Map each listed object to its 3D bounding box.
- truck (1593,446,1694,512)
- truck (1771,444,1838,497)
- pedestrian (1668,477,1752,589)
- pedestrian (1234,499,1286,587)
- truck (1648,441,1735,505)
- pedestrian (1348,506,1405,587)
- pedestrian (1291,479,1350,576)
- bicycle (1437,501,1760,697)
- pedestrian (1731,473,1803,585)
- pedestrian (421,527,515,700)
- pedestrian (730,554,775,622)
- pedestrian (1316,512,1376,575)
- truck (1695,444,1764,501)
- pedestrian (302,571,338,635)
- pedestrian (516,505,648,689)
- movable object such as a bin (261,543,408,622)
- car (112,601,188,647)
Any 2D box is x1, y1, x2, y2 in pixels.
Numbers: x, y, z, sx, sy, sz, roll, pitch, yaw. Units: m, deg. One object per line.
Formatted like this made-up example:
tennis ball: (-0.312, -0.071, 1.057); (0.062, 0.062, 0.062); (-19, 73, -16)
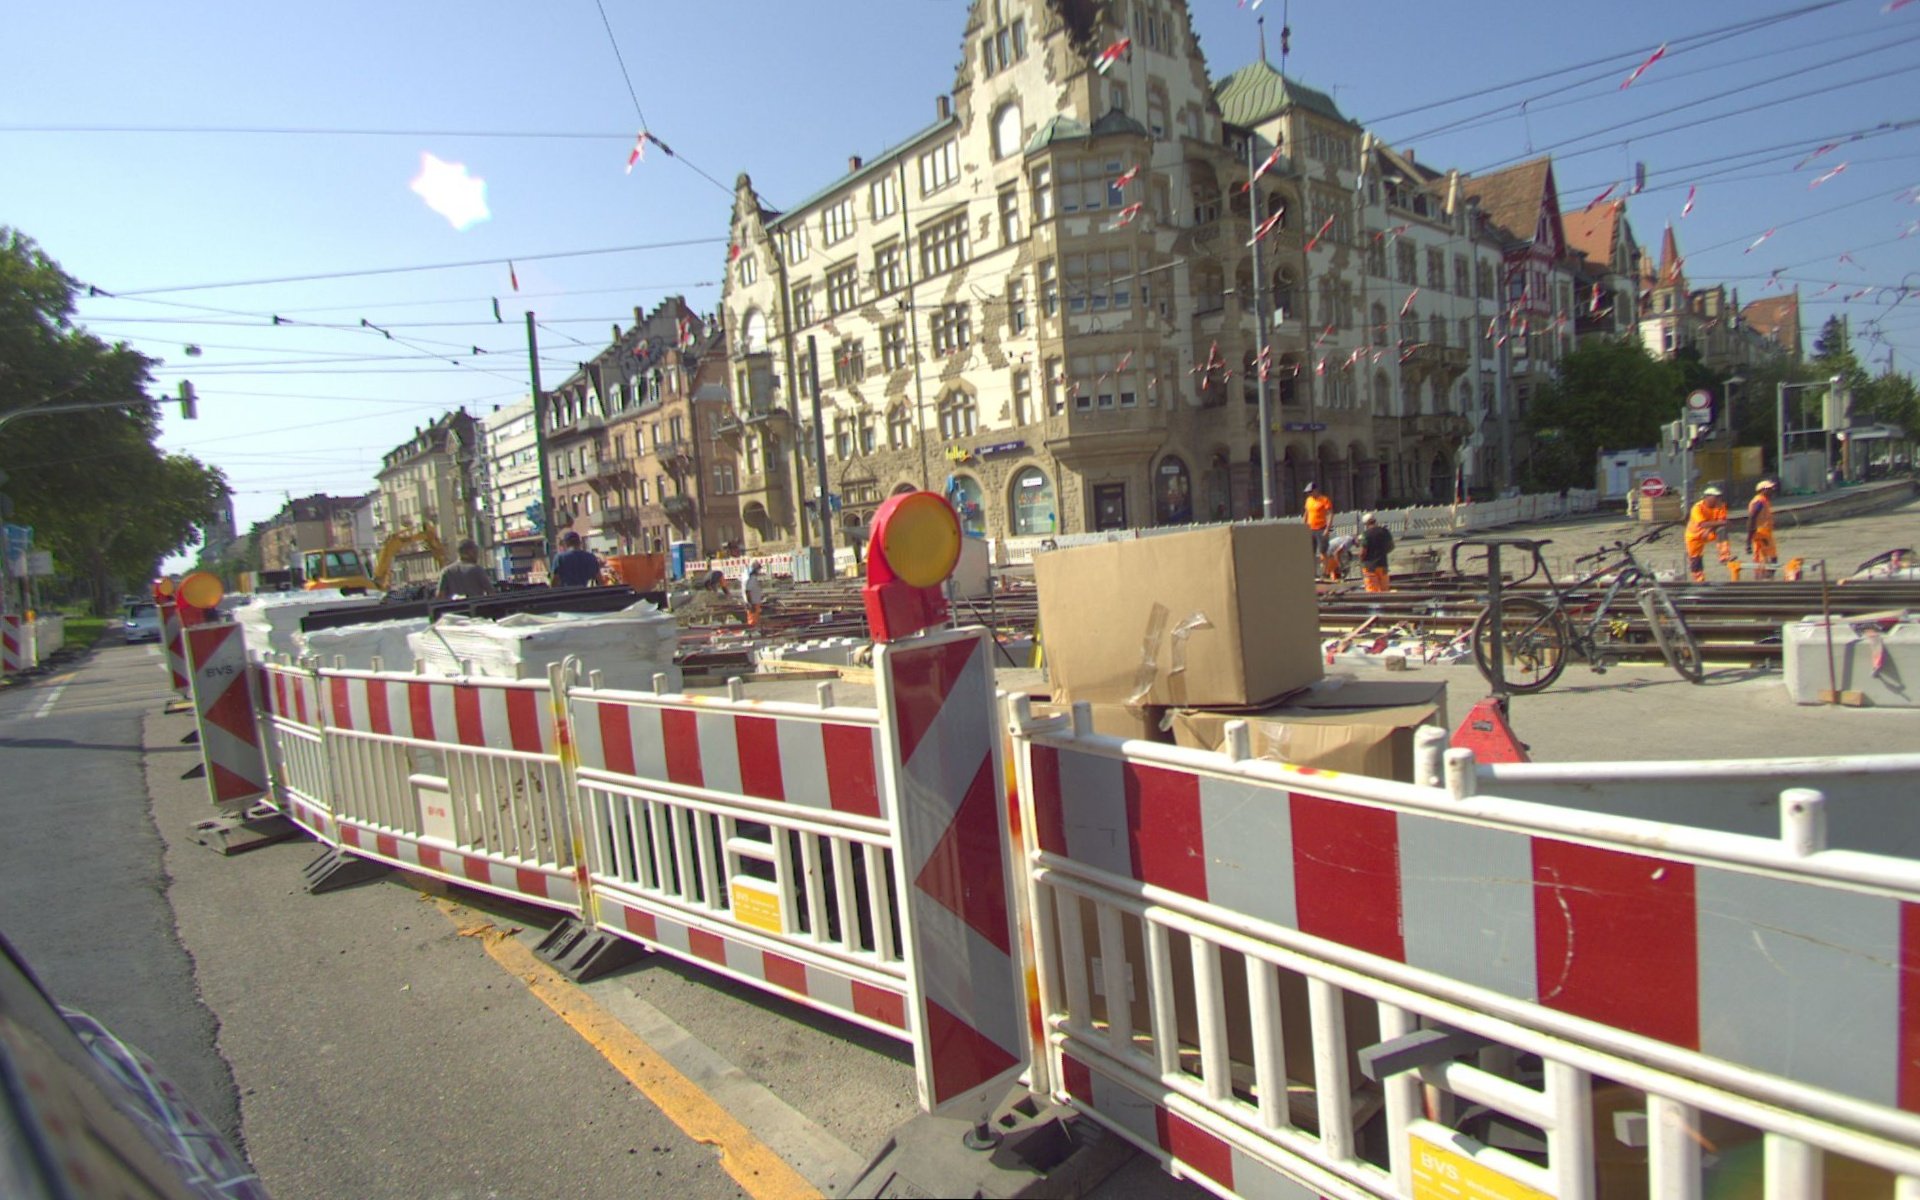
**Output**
truck: (33.418, -5.908, 49.406); (5.951, 2.835, 2.695); (-7, 4, -42)
truck: (50.288, -7.704, 60.212); (6.263, 2.810, 2.241); (-7, 4, -43)
pedestrian: (12.054, -1.069, 16.265); (0.729, 1.714, 0.761); (-5, 3, -21)
pedestrian: (5.629, -1.064, 19.007); (0.729, 1.568, 0.752); (-4, 3, 8)
truck: (40.083, -6.959, 55.379); (6.263, 3.065, 2.634); (-7, 4, -43)
pedestrian: (6.723, -0.863, 16.333); (0.668, 1.256, 0.548); (-6, 4, -41)
pedestrian: (6.689, -1.341, 18.772); (0.742, 1.714, 0.679); (-6, 3, -41)
bicycle: (4.392, -0.031, 7.033); (1.774, 1.157, 0.676); (-5, 4, -1)
pedestrian: (12.990, -1.135, 16.288); (0.730, 1.714, 0.760); (-6, 4, -41)
pedestrian: (-5.339, 0.132, 11.019); (0.708, 1.787, 0.467); (-5, 3, -16)
pedestrian: (-4.019, -0.232, 19.589); (0.546, 1.256, 0.542); (-2, 3, 33)
pedestrian: (7.472, -1.082, 19.585); (0.867, 1.192, 0.722); (1, 3, 42)
truck: (46.632, -7.718, 61.246); (6.263, 3.065, 2.241); (-7, 4, -43)
pedestrian: (-18.537, 0.080, 29.299); (0.691, 1.752, 0.915); (-6, 3, -36)
pedestrian: (-4.046, -0.047, 10.853); (0.800, 1.854, 0.910); (-2, 3, 38)
movable object such as a bin: (-20.382, -0.610, 33.037); (2.912, 2.427, 3.135); (0, 2, 34)
car: (-29.763, 0.840, 37.160); (1.969, 1.405, 4.007); (-7, 4, -40)
